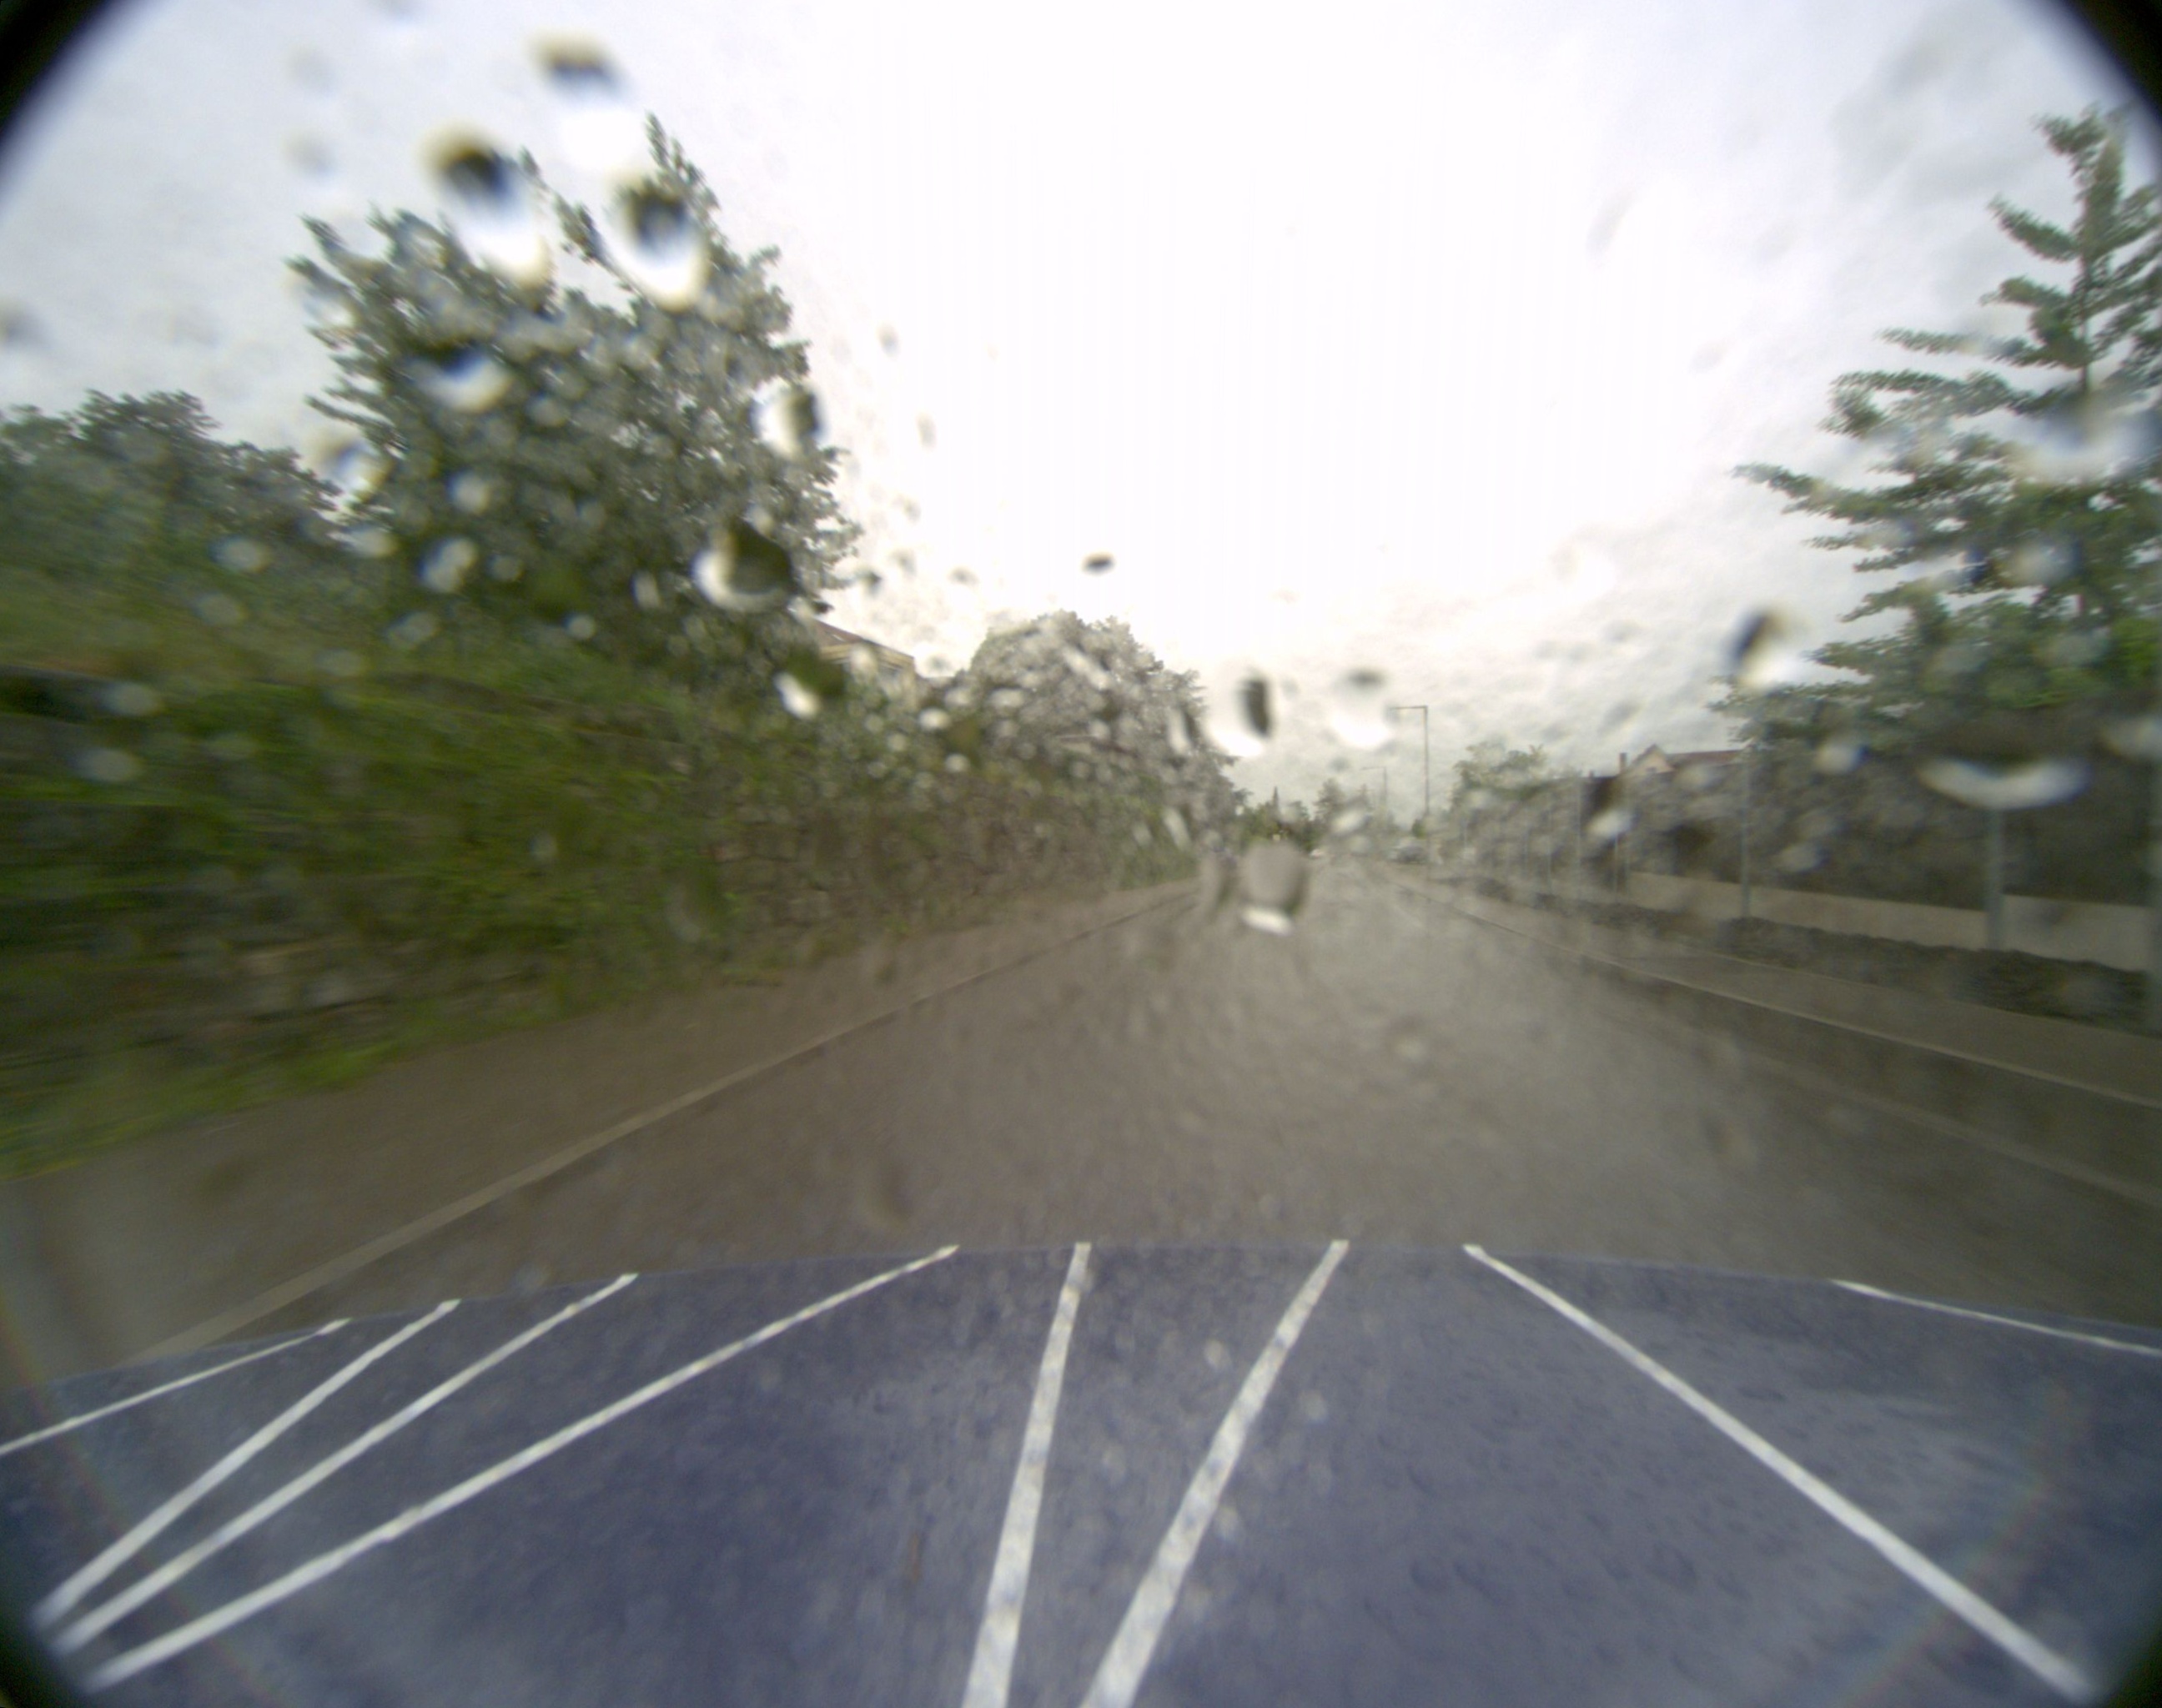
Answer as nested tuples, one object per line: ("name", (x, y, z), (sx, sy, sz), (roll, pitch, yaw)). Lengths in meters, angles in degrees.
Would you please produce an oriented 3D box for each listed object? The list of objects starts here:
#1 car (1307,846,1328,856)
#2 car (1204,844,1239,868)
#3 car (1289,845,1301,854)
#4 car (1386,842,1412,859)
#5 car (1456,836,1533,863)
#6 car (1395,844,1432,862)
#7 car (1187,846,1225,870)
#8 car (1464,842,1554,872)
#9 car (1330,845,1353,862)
("car", (35.306, -0.469, 113.434), (1.851, 1.451, 4.268), (-2, 0, 1))
("car", (10.700, 0.121, 57.579), (1.995, 1.661, 4.550), (2, 1, 18))
("car", (38.046, -0.765, 134.858), (1.853, 1.461, 3.704), (-2, 0, 19))
("car", (32.487, -0.372, 77.585), (1.706, 1.544, 4.397), (-2, 0, 33))
("car", (26.530, -0.288, 48.770), (4.060, 1.565, 1.940), (-2, 0, -14))
("car", (27.713, -0.090, 63.503), (1.837, 1.397, 4.263), (-2, 0, 10))
("car", (8.533, 0.238, 51.717), (1.812, 1.554, 4.016), (2, 1, 20))
("car", (23.693, 0.138, 42.069), (4.537, 1.434, 1.758), (-3, 1, -20))
("car", (23.006, -0.037, 67.140), (1.883, 1.441, 4.214), (-1, 0, 18))
